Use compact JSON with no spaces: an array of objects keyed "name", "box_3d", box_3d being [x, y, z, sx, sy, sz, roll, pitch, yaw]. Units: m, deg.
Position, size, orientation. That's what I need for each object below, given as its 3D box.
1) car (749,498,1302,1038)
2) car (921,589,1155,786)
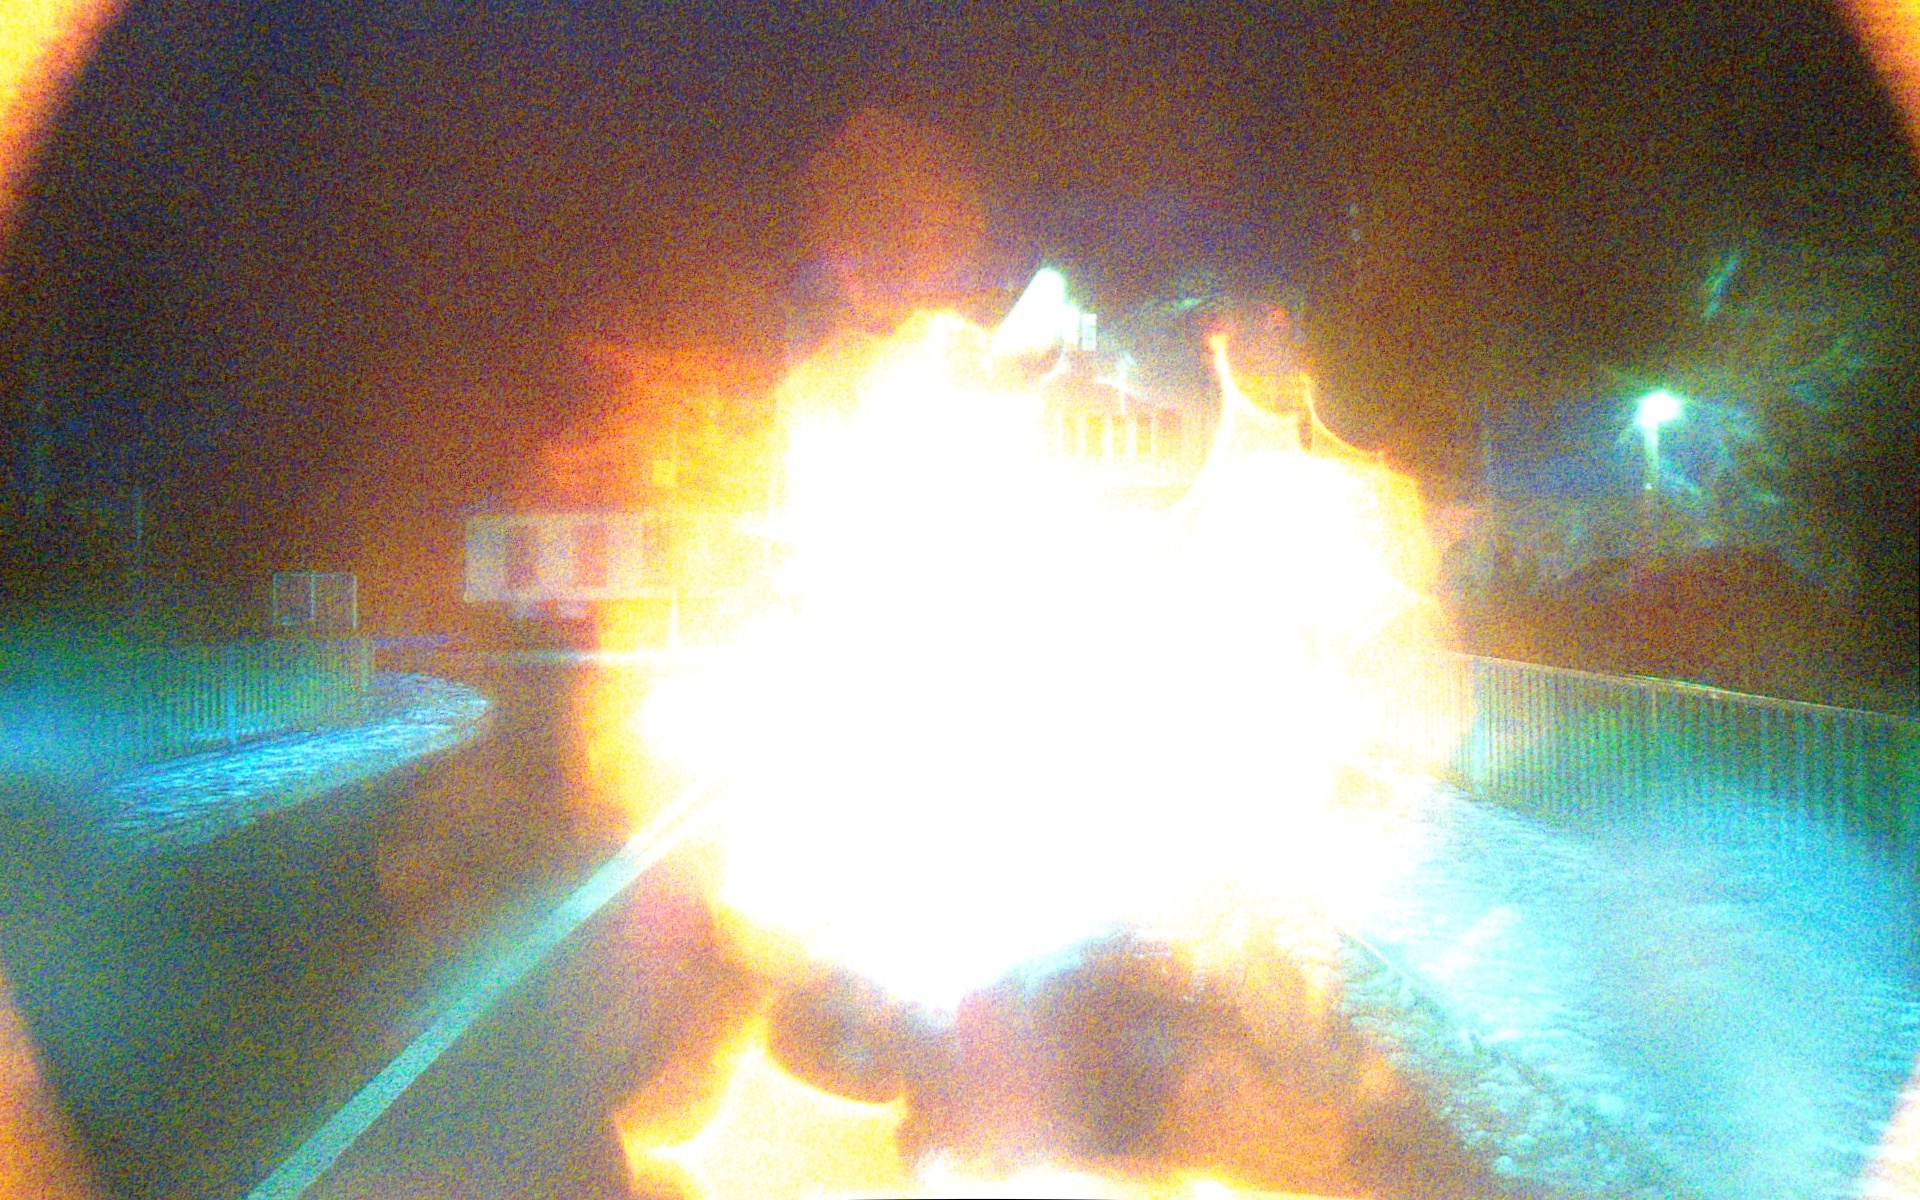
[{"name":"car","box_3d":[0.225,0.509,7.216,1.754,1.710,3.905,0,1,0]},{"name":"car","box_3d":[0.664,0.631,14.174,1.707,1.440,4.001,0,0,3]}]
